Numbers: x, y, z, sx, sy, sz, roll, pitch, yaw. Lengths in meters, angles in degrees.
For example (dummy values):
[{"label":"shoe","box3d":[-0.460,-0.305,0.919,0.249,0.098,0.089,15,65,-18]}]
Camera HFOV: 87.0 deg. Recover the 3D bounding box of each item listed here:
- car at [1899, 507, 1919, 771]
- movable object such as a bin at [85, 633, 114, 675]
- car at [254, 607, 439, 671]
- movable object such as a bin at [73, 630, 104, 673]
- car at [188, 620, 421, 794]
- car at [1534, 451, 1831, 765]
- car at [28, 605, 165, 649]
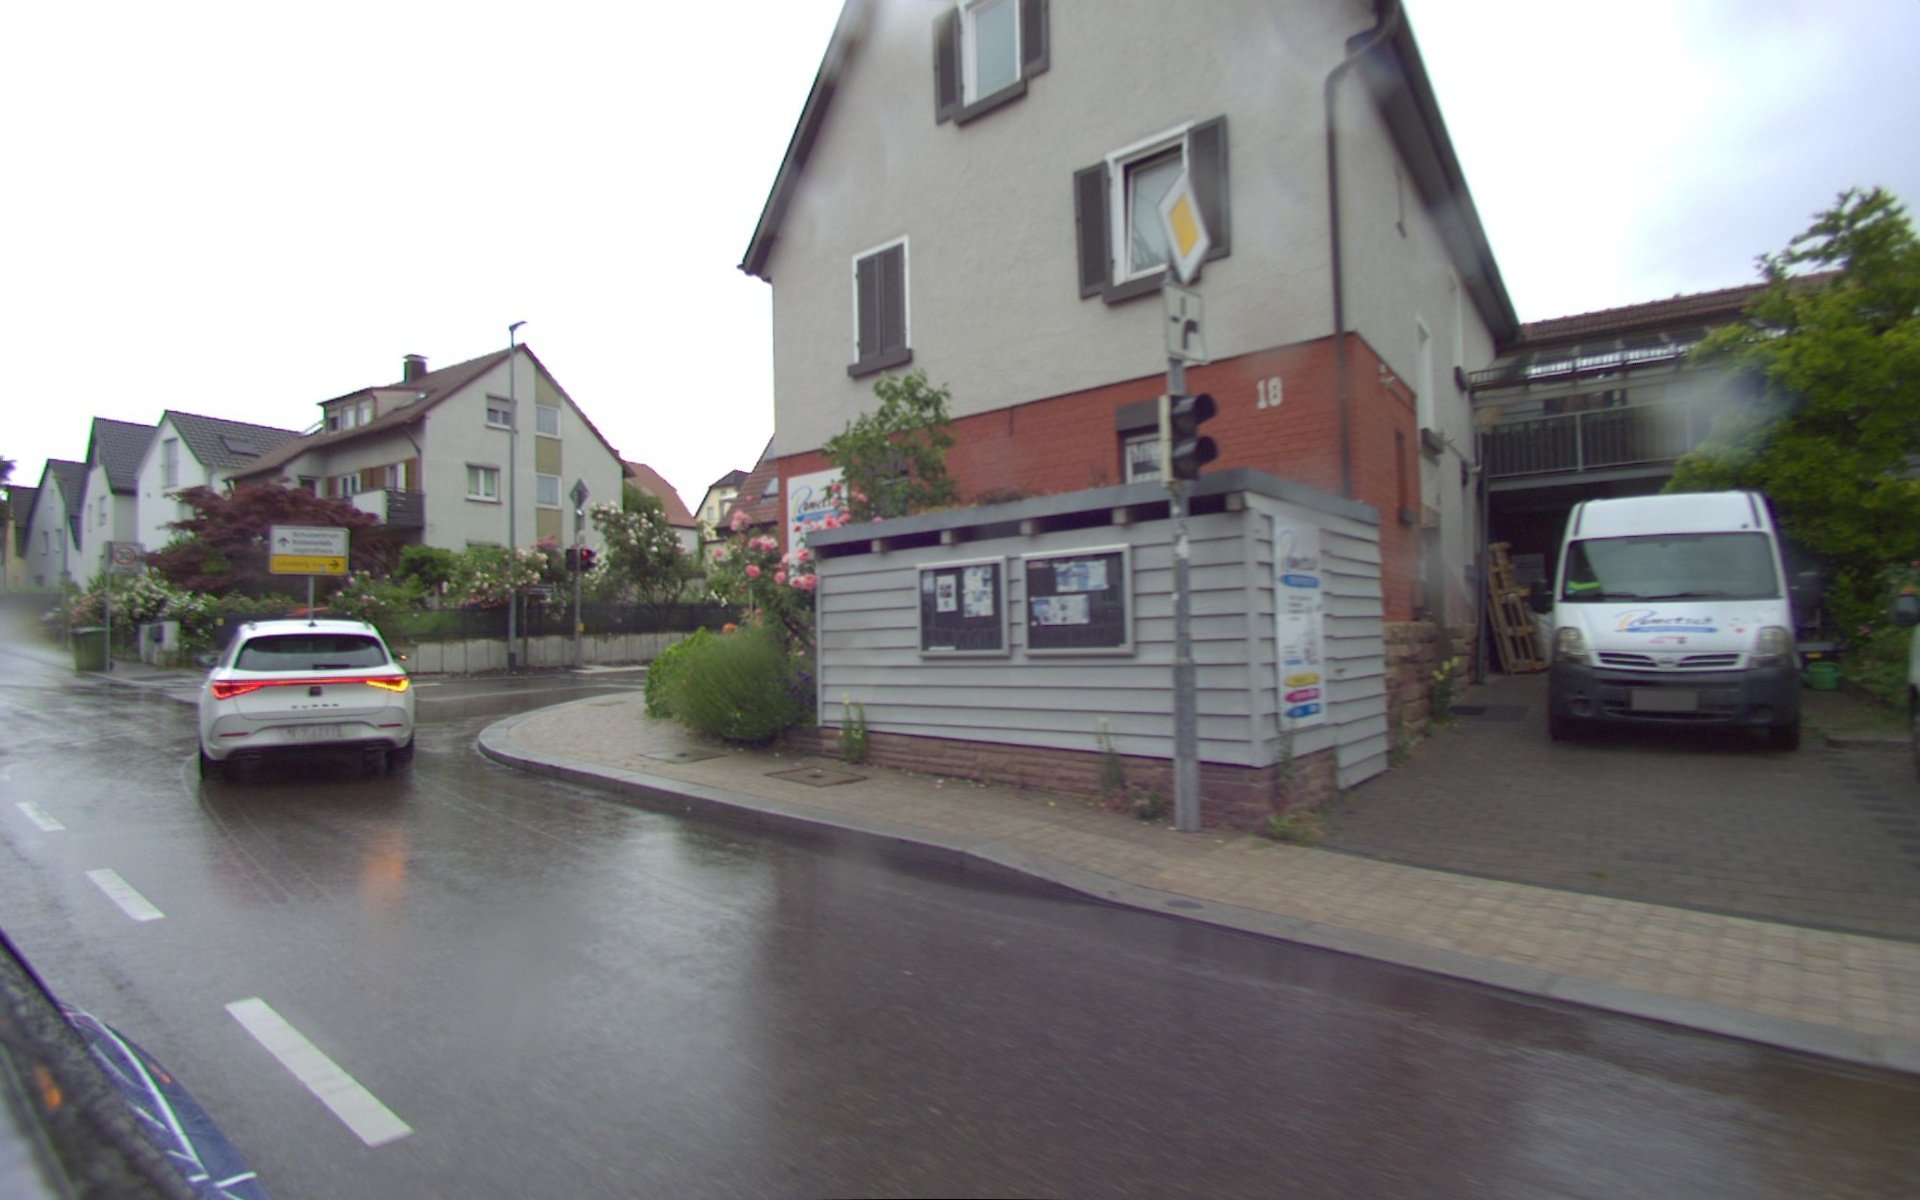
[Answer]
[{"label":"car","box3d":[6.952,0.342,5.417,1.994,1.994,4.473,-3,0,33]},{"label":"movable object such as a bin","box3d":[-21.798,1.349,25.643,0.414,1.034,0.515,-1,-1,42]},{"label":"car","box3d":[-16.663,1.055,27.678,1.717,1.611,3.953,0,-2,34]},{"label":"movable object such as a bin","box3d":[-22.321,1.302,25.907,0.414,1.057,0.515,-1,2,42]},{"label":"car","box3d":[-6.918,0.937,10.476,1.566,1.420,4.217,3,-2,-39]},{"label":"car","box3d":[7.972,0.023,11.131,2.066,2.547,5.790,-1,0,38]},{"label":"car","box3d":[-35.646,1.103,41.868,1.775,1.719,3.959,-1,-1,30]}]
